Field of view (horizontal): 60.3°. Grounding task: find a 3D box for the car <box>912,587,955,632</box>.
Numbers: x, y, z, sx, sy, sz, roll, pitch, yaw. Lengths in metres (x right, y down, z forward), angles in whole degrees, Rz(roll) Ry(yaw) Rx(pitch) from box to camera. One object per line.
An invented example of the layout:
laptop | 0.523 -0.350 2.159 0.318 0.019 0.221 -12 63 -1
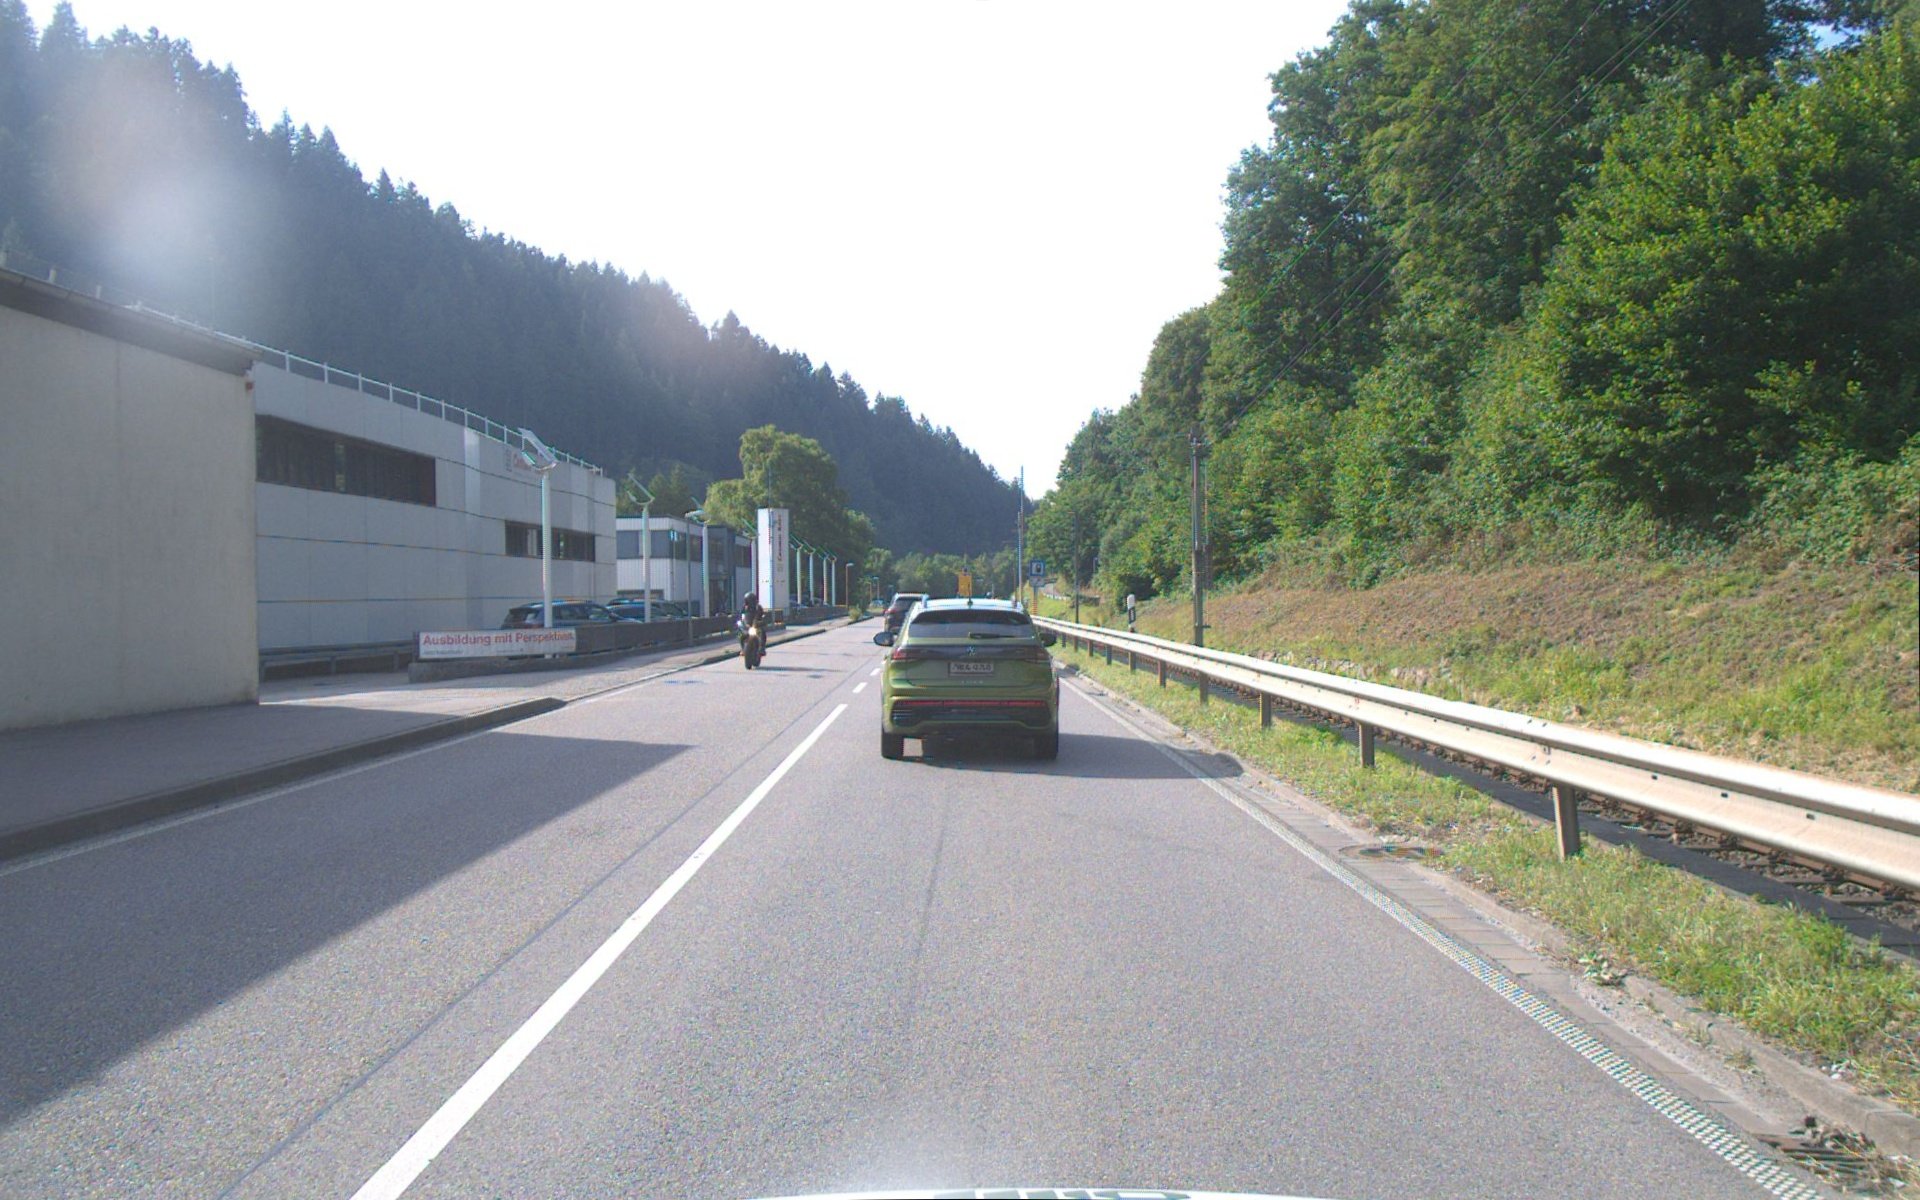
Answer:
car | -1.221 0.431 77.363 1.953 2.049 3.999 -1 0 -1

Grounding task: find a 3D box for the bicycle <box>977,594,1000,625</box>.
bicycle | 1.190 0.402 69.436 0.795 1.272 2.121 0 0 -3

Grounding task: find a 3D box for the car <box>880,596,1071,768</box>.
car | 0.085 0.730 16.801 1.704 1.534 3.999 0 0 -2

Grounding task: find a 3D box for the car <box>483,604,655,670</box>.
car | -10.321 0.941 43.871 1.854 1.619 4.152 0 0 41

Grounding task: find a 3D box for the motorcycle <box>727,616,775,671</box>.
motorcycle | -4.426 0.902 35.204 0.726 1.087 2.492 0 0 -1

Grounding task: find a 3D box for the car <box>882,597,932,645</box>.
car | -1.871 0.713 58.568 1.704 1.630 3.999 0 0 -2

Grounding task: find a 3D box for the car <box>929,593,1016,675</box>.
car | 0.223 0.681 35.099 1.704 1.630 3.999 0 0 -2

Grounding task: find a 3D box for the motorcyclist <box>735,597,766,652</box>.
motorcyclist | -4.446 0.514 35.080 0.574 1.144 0.636 0 0 -1

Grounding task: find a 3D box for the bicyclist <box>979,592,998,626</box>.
bicyclist | 1.187 0.371 69.396 0.766 1.436 0.674 0 0 -3

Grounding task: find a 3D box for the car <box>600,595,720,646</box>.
car | -10.696 0.704 59.190 1.749 1.738 4.088 0 0 41
